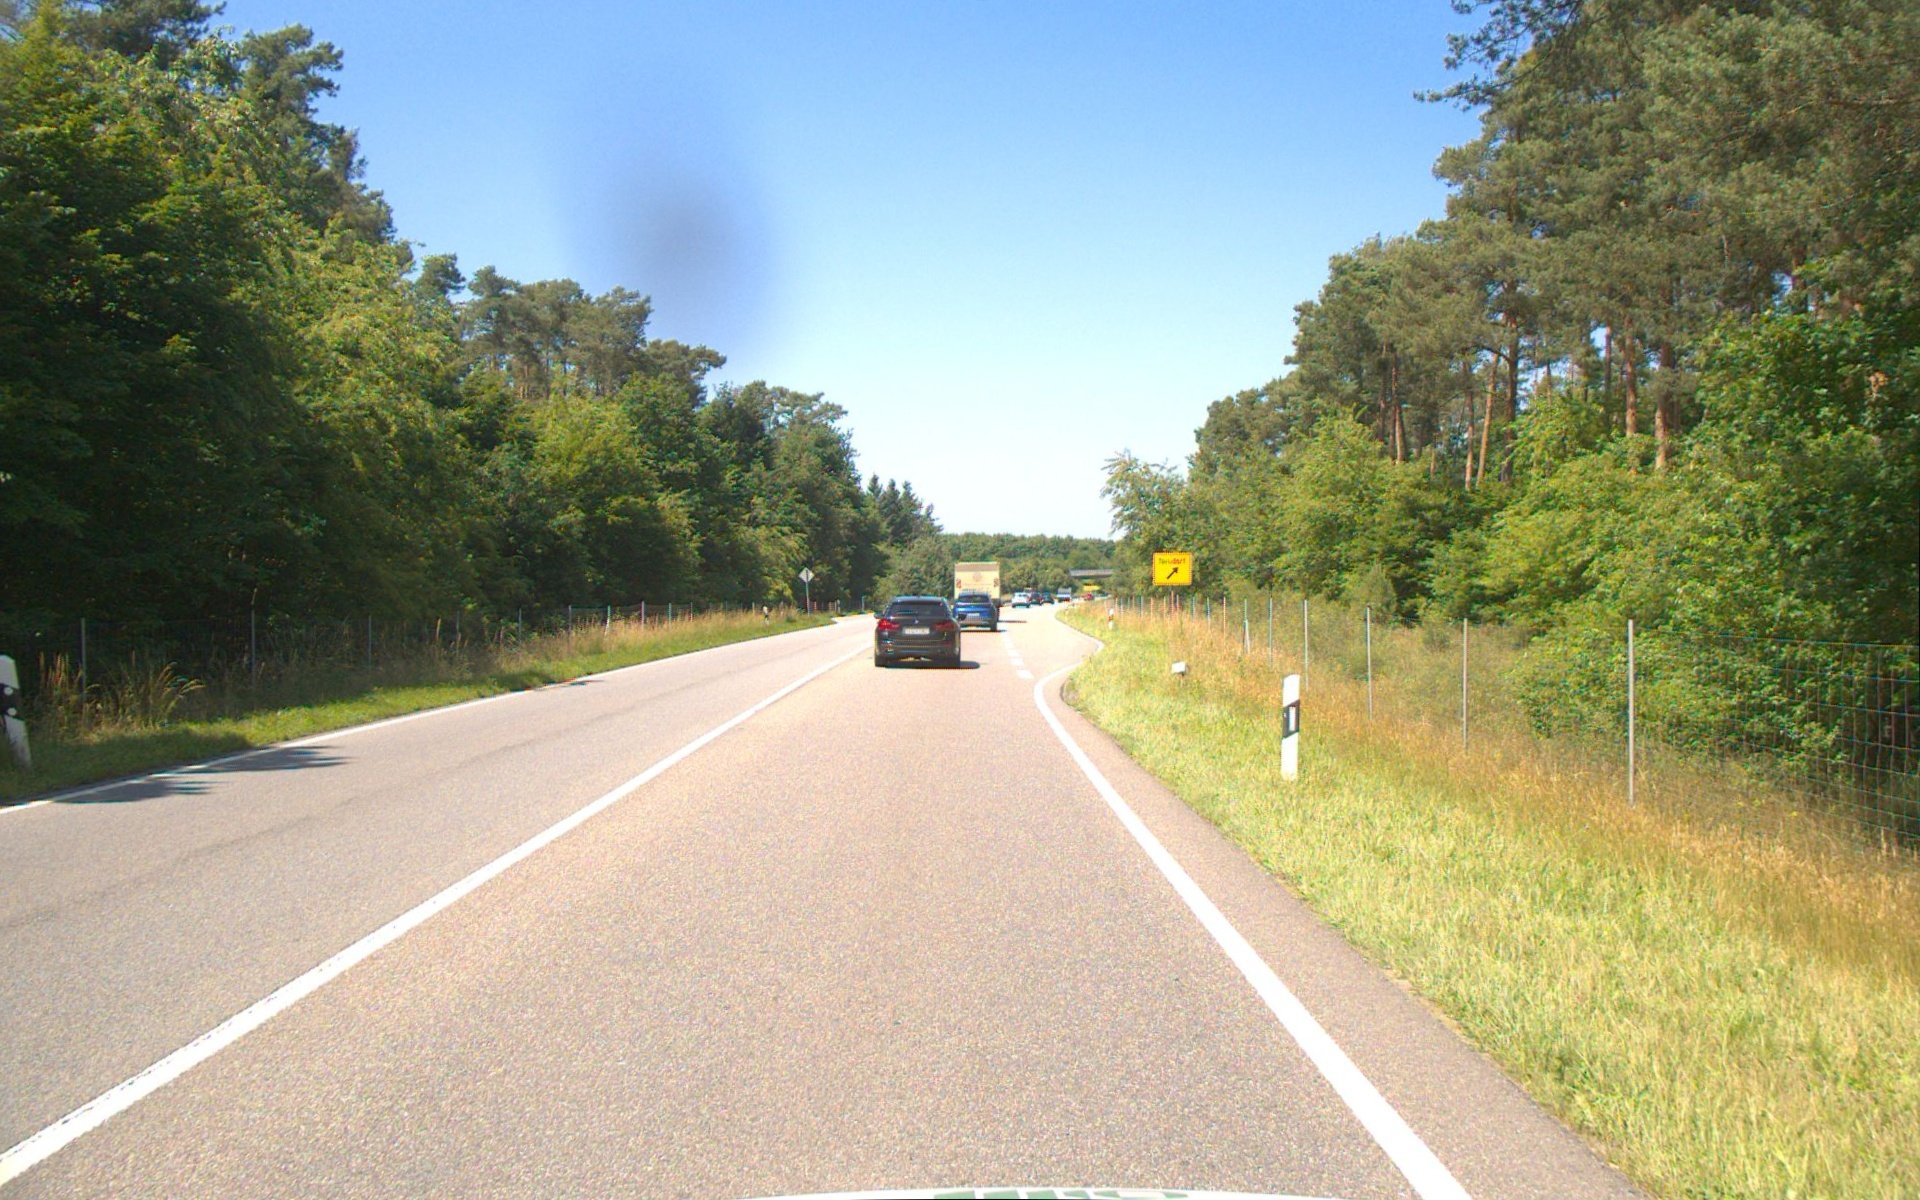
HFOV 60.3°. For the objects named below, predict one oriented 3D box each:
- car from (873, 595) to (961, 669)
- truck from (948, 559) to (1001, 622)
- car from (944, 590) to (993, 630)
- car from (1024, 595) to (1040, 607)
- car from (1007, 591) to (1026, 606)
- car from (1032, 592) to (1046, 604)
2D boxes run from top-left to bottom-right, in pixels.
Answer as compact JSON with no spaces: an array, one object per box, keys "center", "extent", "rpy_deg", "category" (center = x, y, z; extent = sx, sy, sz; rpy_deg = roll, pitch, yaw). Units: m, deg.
[{"center":[-0.985,0.642,35.937],"extent":[1.784,1.496,3.998],"rpy_deg":[0,0,-3],"category":"car"},{"center":[0.854,-0.550,93.075],"extent":[2.904,3.447,6.439],"rpy_deg":[0,0,1],"category":"truck"},{"center":[0.332,0.406,68.723],"extent":[1.908,1.568,3.999],"rpy_deg":[-1,0,-1],"category":"car"},{"center":[9.312,0.102,214.073],"extent":[1.952,1.445,4.001],"rpy_deg":[1,0,2],"category":"car"},{"center":[6.313,-0.135,184.766],"extent":[1.825,1.633,3.999],"rpy_deg":[1,0,-1],"category":"car"},{"center":[11.386,-0.317,238.132],"extent":[1.952,1.665,4.002],"rpy_deg":[-1,0,3],"category":"car"}]
